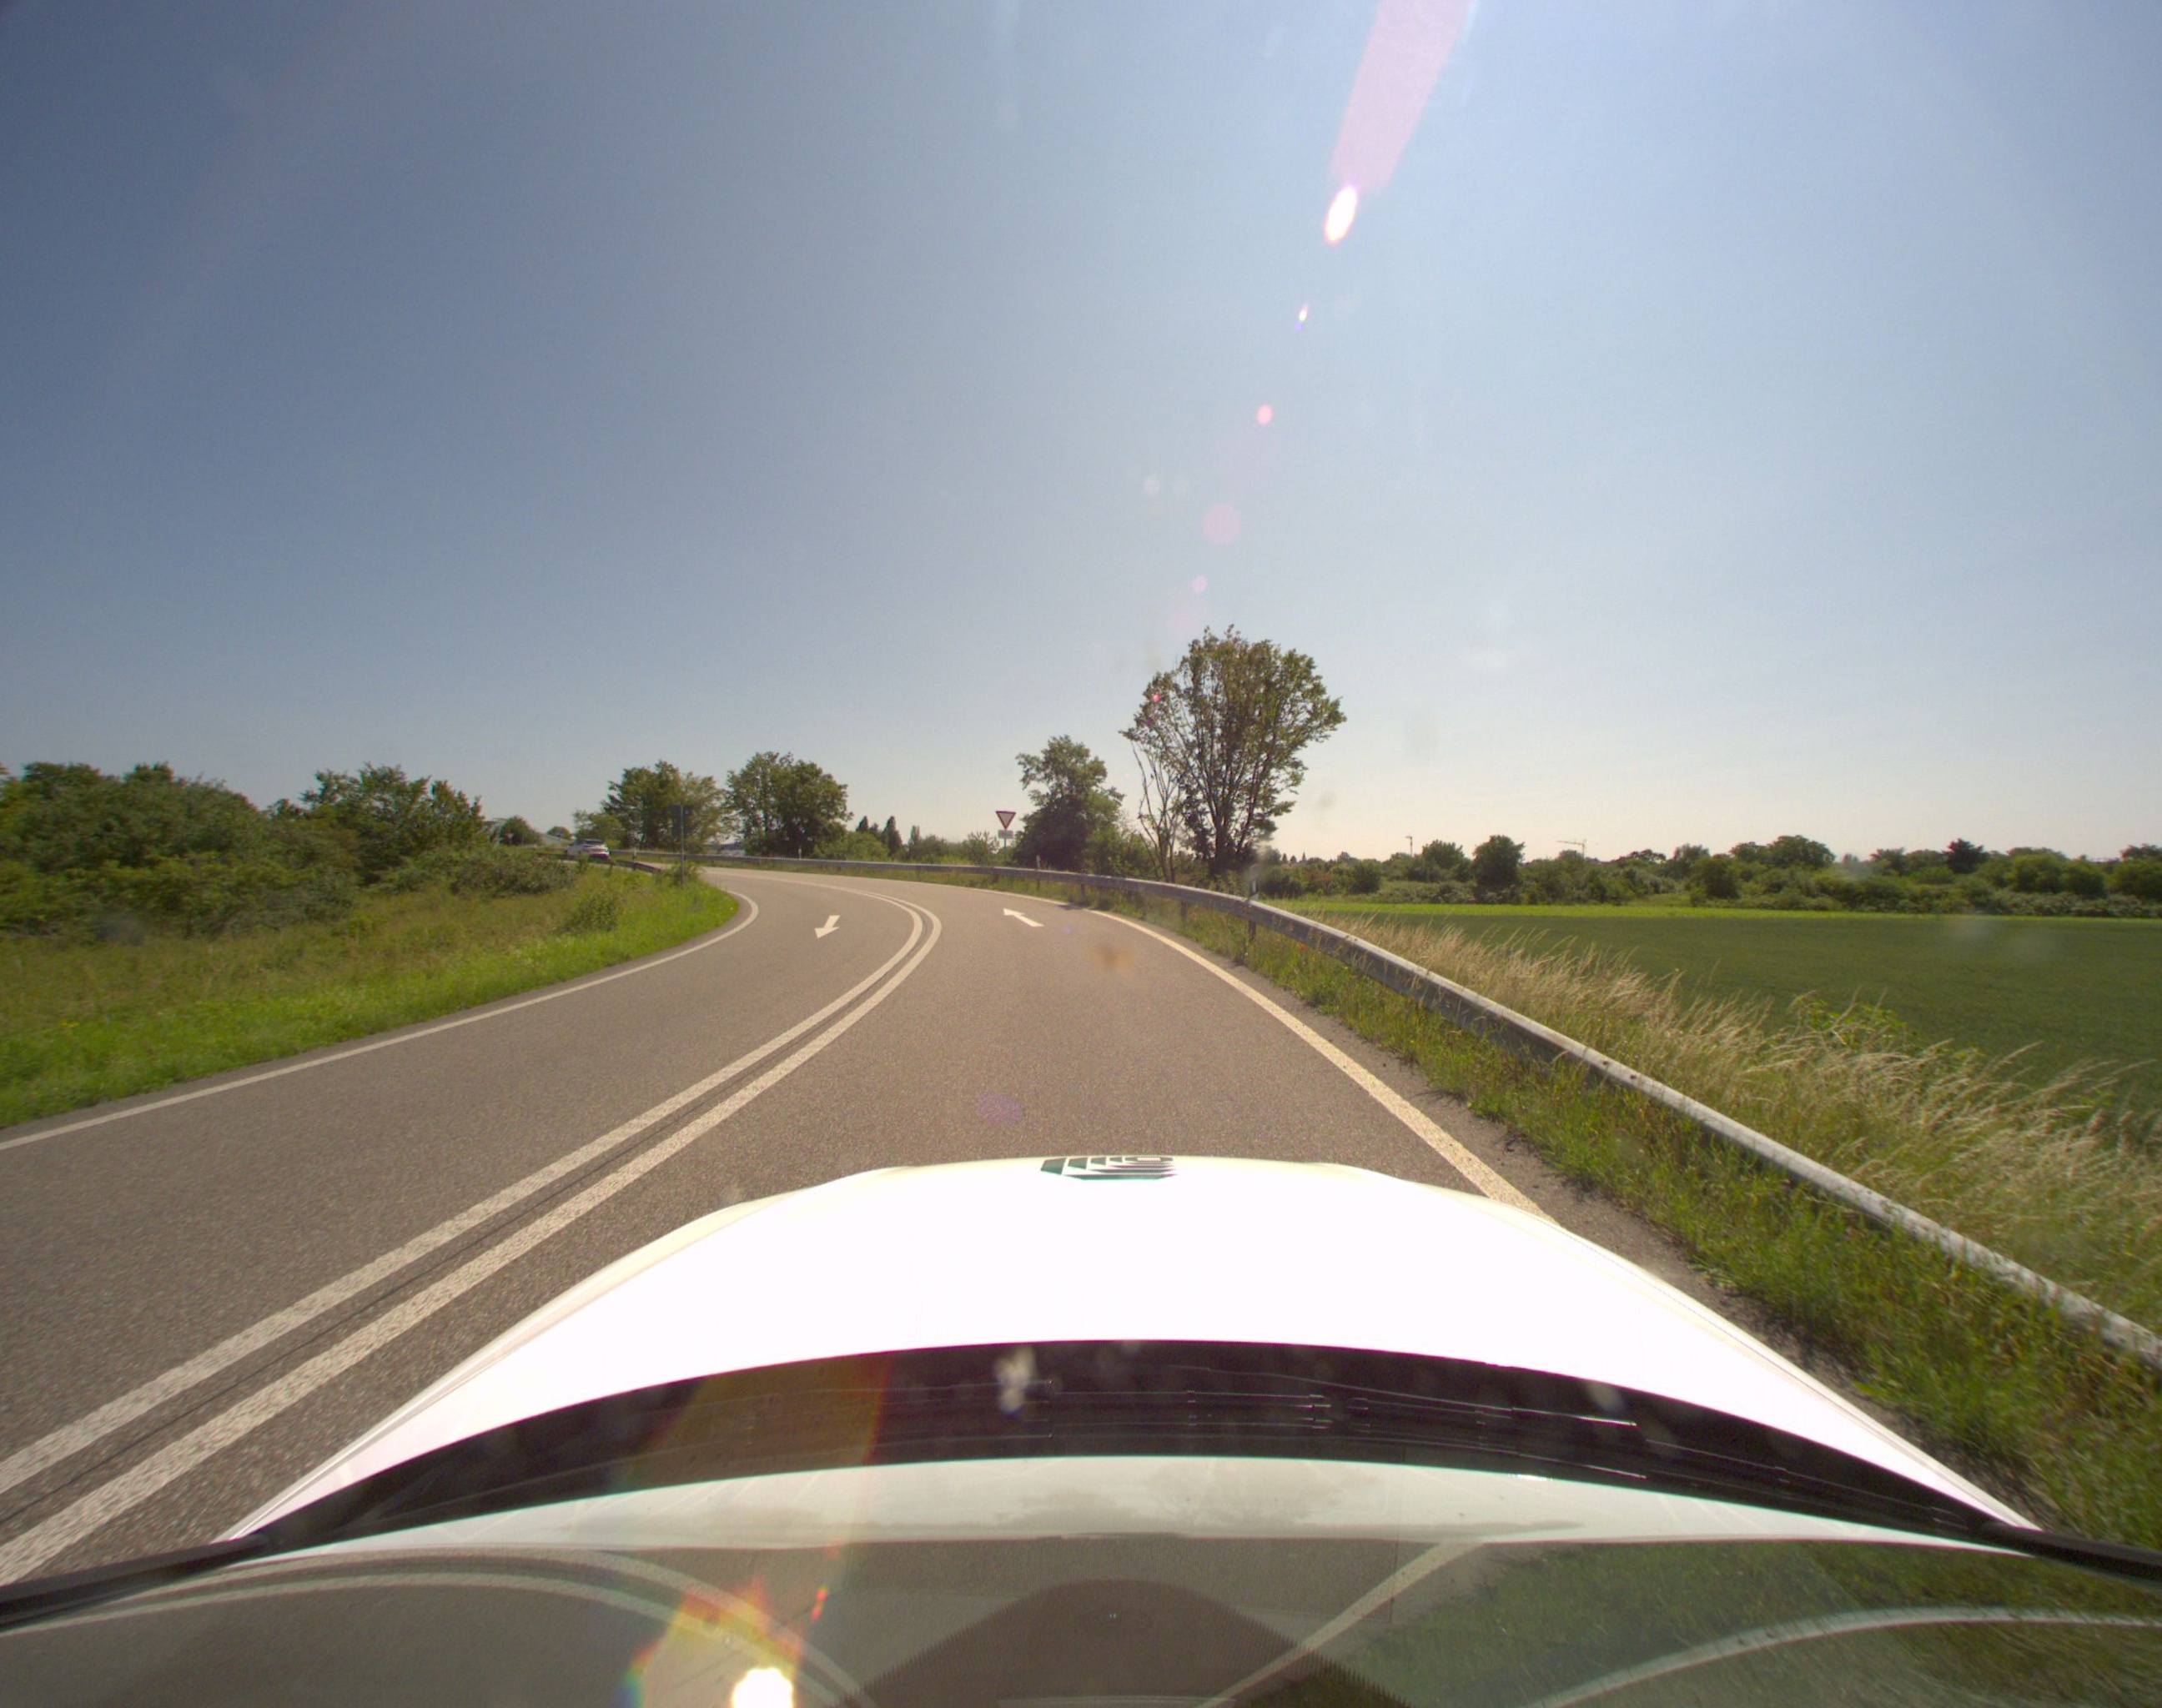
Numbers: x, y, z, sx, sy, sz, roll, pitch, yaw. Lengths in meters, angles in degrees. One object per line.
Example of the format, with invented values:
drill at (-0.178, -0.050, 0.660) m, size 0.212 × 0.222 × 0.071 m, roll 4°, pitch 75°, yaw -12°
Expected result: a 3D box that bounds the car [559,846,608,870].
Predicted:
car at (-36.054, 0.317, 58.980) m, size 3.949 × 1.691 × 1.826 m, roll -1°, pitch -1°, yaw 40°
